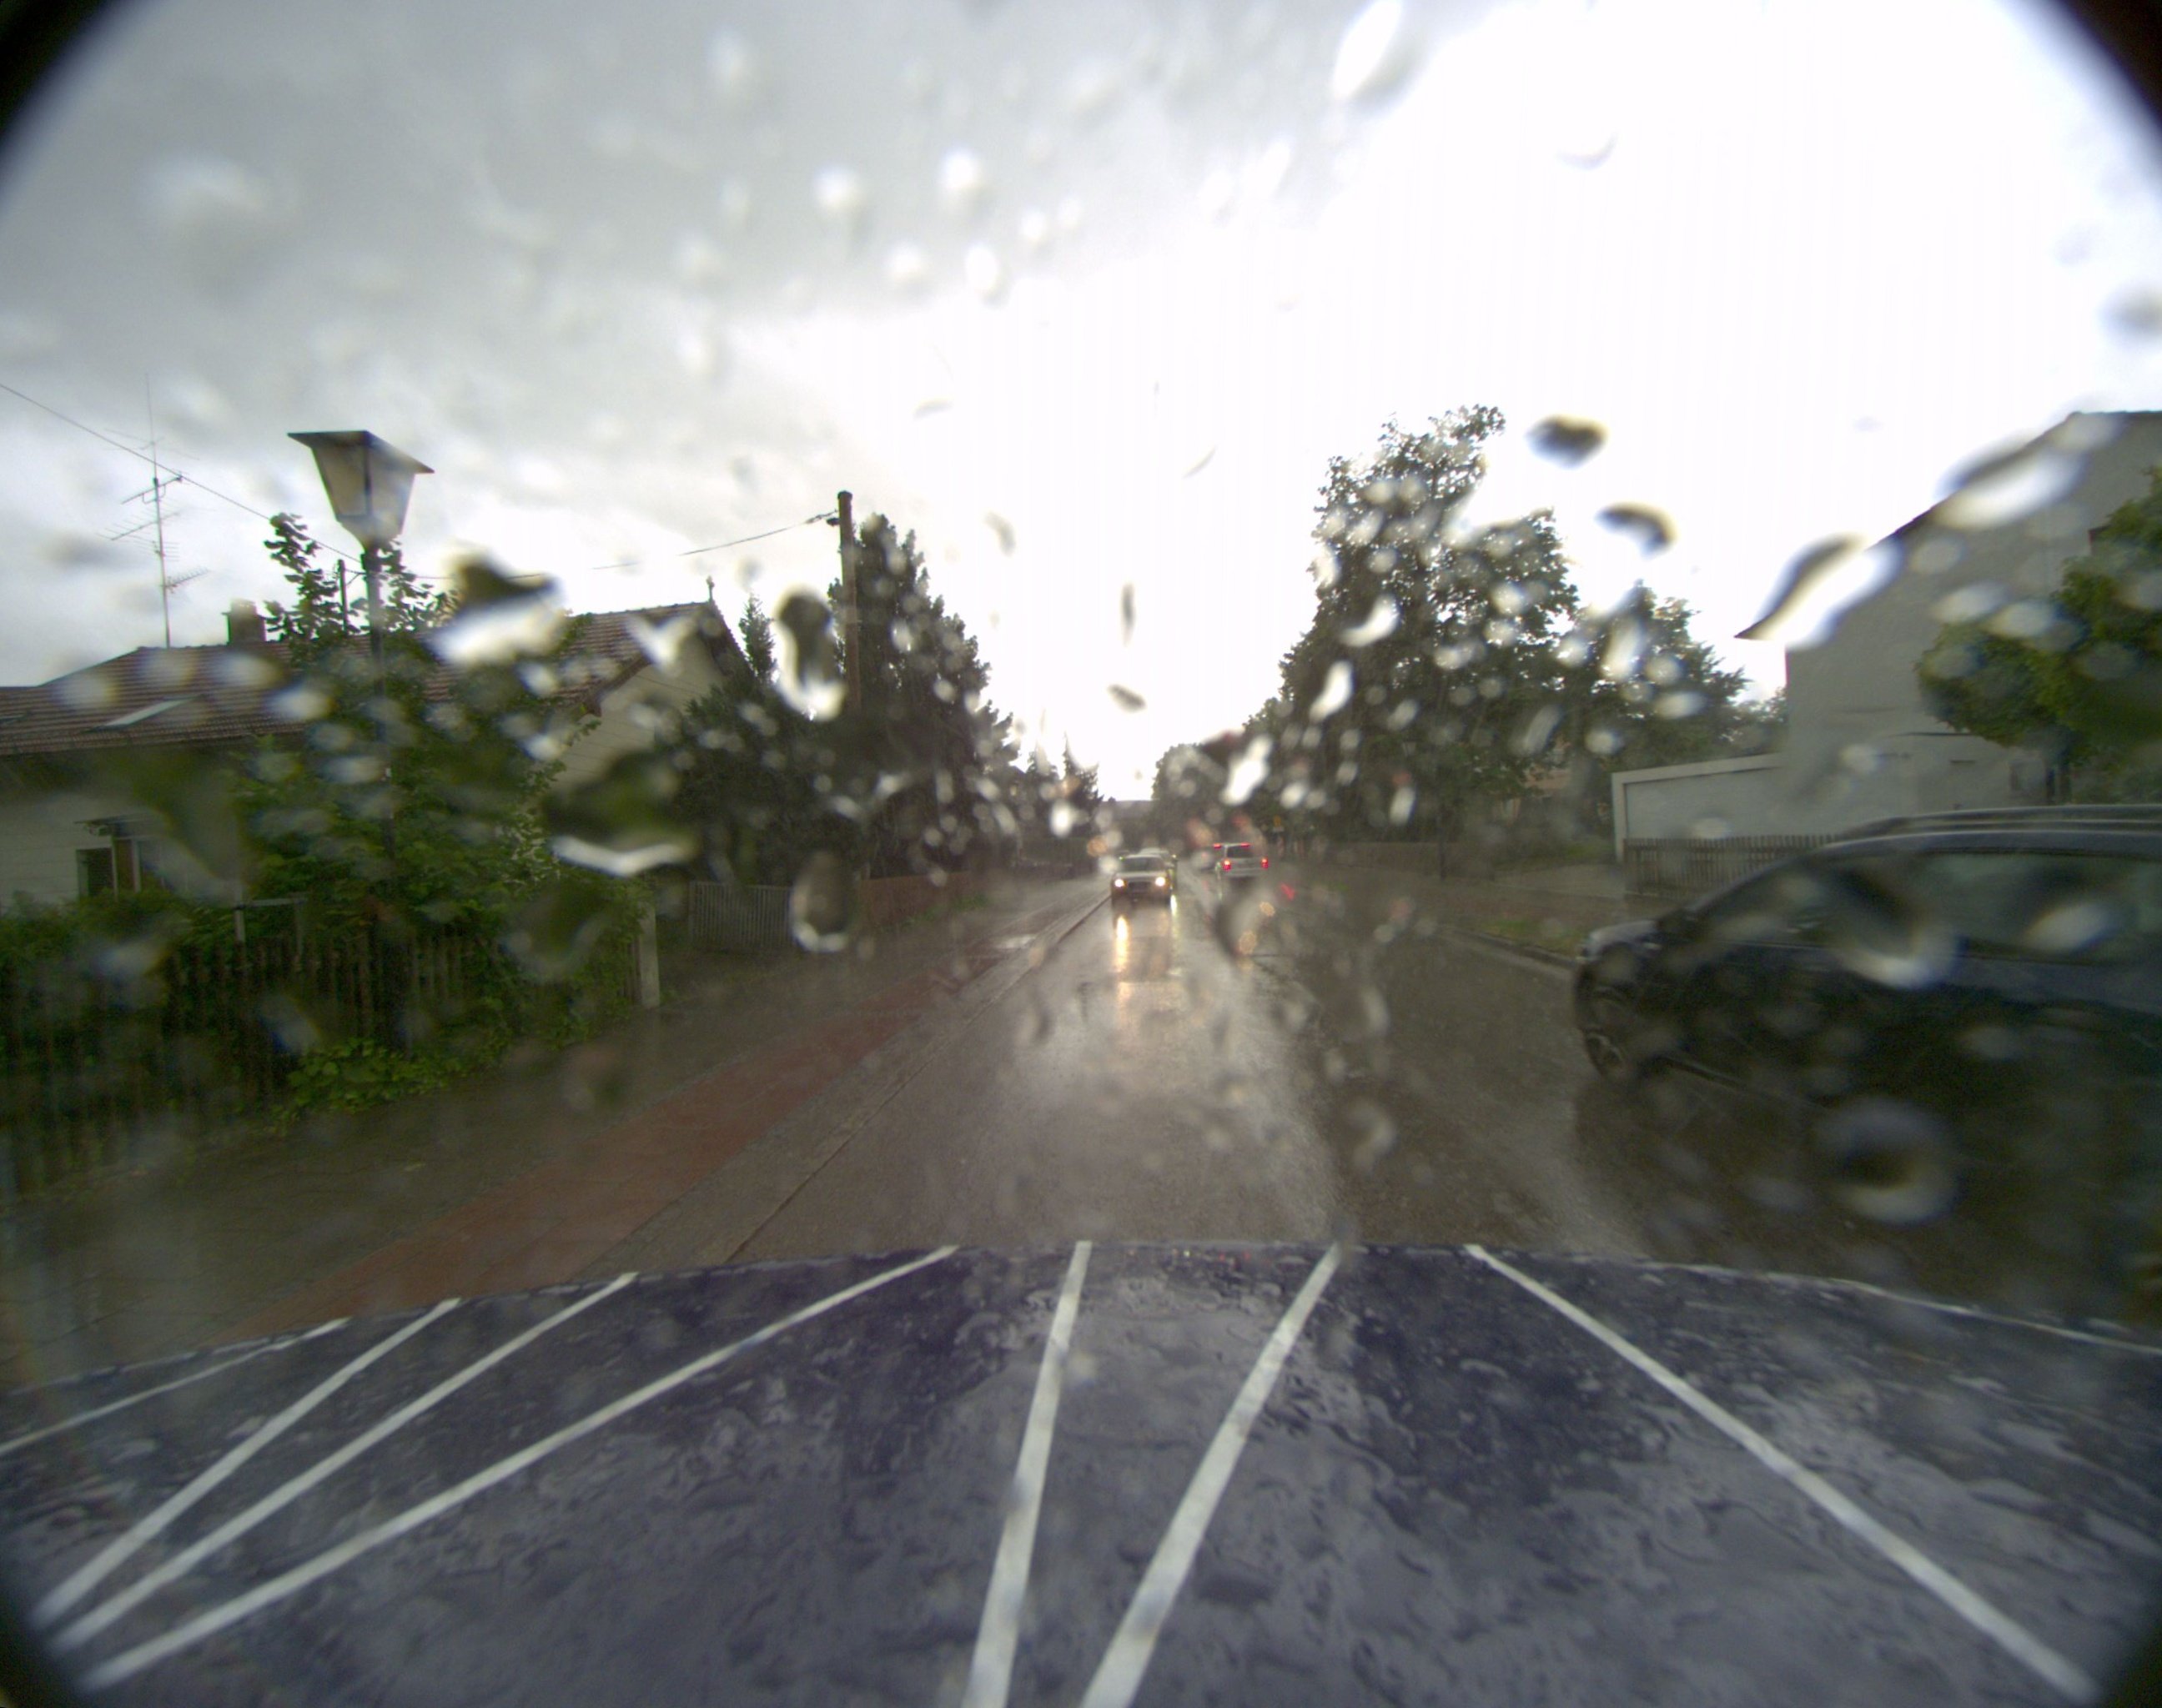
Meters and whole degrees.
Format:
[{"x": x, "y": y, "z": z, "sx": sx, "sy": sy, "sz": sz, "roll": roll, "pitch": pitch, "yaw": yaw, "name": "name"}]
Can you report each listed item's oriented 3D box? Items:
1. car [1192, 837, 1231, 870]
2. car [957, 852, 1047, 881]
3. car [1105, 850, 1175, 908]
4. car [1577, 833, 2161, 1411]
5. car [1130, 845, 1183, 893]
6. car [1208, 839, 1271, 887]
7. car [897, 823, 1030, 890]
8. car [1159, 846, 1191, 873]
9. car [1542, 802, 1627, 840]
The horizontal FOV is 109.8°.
[{"x": 7.435, "y": -0.077, "z": 43.612, "sx": 1.926, "sy": 1.734, "sz": 4.193, "roll": -2, "pitch": 1, "yaw": 6, "name": "car"}, {"x": -3.959, "y": 0.614, "z": 38.667, "sx": 4.441, "sy": 1.413, "sz": 1.830, "roll": 0, "pitch": 1, "yaw": -2, "name": "car"}, {"x": 1.874, "y": 0.687, "z": 23.235, "sx": 1.871, "sy": 1.512, "sz": 4.189, "roll": -3, "pitch": 1, "yaw": 6, "name": "car"}, {"x": 3.844, "y": 0.738, "z": 2.948, "sx": 1.590, "sy": 1.601, "sz": 3.538, "roll": -2, "pitch": 1, "yaw": 2, "name": "car"}, {"x": 3.136, "y": 0.536, "z": 31.408, "sx": 1.871, "sy": 1.603, "sz": 4.962, "roll": -5, "pitch": 1, "yaw": 6, "name": "car"}, {"x": 6.016, "y": 0.298, "z": 29.188, "sx": 1.757, "sy": 1.668, "sz": 4.000, "roll": -1, "pitch": 1, "yaw": 3, "name": "car"}, {"x": -4.840, "y": 0.076, "z": 32.023, "sx": 5.318, "sy": 2.712, "sz": 1.999, "roll": 0, "pitch": 1, "yaw": -3, "name": "car"}, {"x": 6.122, "y": 0.310, "z": 50.027, "sx": 1.871, "sy": 1.512, "sz": 4.962, "roll": -5, "pitch": 1, "yaw": 6, "name": "car"}, {"x": 29.626, "y": -1.942, "z": 44.807, "sx": 1.844, "sy": 1.792, "sz": 3.650, "roll": -6, "pitch": 0, "yaw": -28, "name": "car"}]
